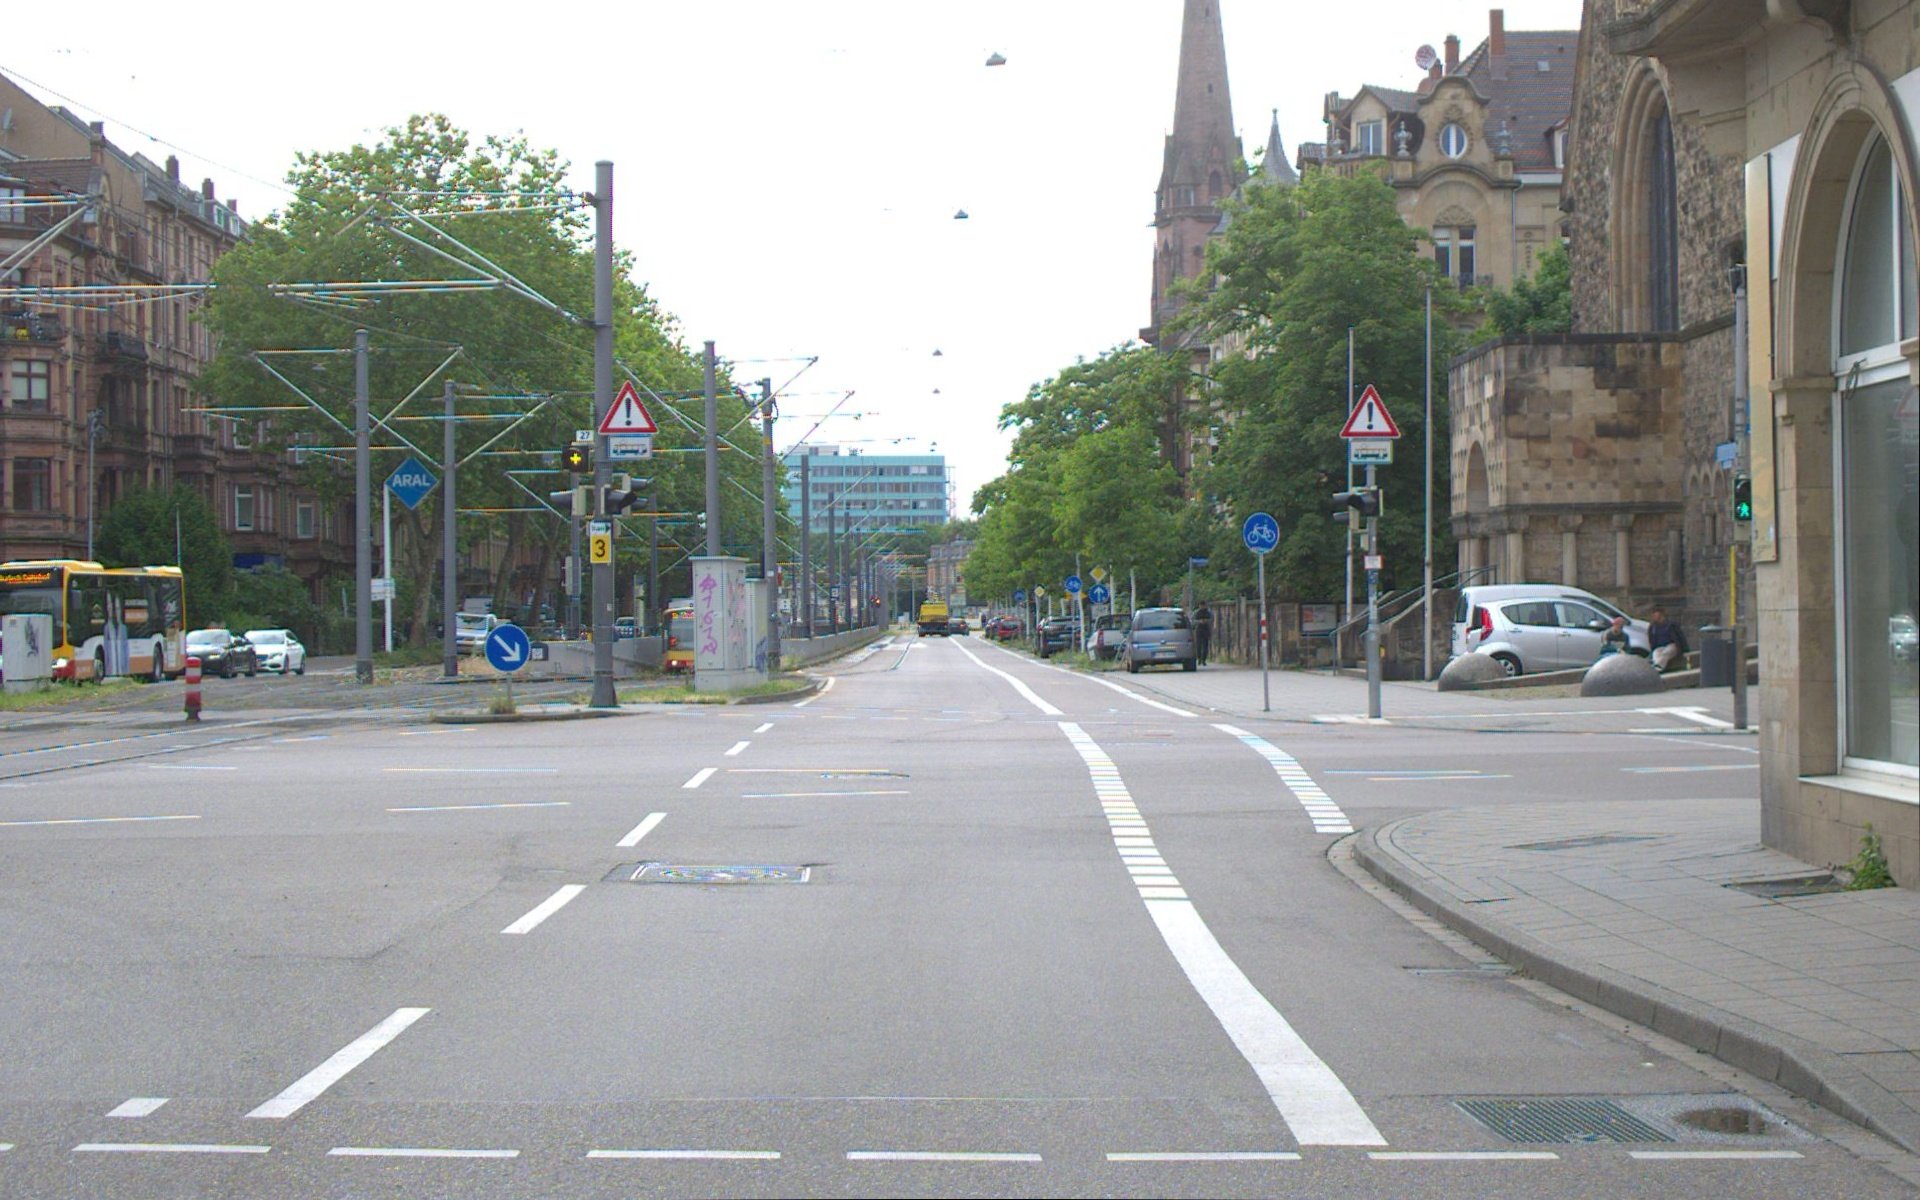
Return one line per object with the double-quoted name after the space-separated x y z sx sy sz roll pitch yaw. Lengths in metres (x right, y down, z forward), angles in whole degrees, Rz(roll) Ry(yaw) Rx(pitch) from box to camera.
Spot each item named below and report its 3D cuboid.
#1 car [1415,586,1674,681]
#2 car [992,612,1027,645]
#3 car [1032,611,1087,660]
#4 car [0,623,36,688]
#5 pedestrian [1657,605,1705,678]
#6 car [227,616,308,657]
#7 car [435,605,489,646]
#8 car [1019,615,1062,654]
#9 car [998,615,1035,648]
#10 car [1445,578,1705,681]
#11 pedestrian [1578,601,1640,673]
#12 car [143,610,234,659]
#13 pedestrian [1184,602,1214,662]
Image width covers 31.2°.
10.483 0.598 61.831 4.348 1.630 1.663 1 0 0 "car"
3.093 1.792 215.287 1.993 2.007 4.000 1 0 -1 "car"
3.845 1.365 133.189 1.993 1.814 4.000 0 0 0 "car"
-21.792 1.218 75.914 1.702 1.393 3.890 1 0 0 "car"
12.267 0.705 58.483 0.737 1.224 1.062 1 0 14 "pedestrian"
-21.530 1.126 106.939 1.702 1.217 3.890 1 0 0 "car"
-21.220 1.078 146.523 1.702 1.706 3.890 1 0 0 "car"
3.958 1.681 169.418 1.993 1.875 4.000 0 0 0 "car"
3.398 1.904 207.581 1.993 1.919 4.000 1 0 -1 "car"
11.658 0.555 65.299 4.610 1.875 1.663 1 0 0 "car"
10.938 0.614 57.962 0.736 1.187 1.493 1 0 0 "pedestrian"
-22.274 0.991 99.364 1.702 1.354 3.890 1 0 0 "car"
6.549 0.873 94.219 0.776 1.642 0.798 1 0 6 "pedestrian"
